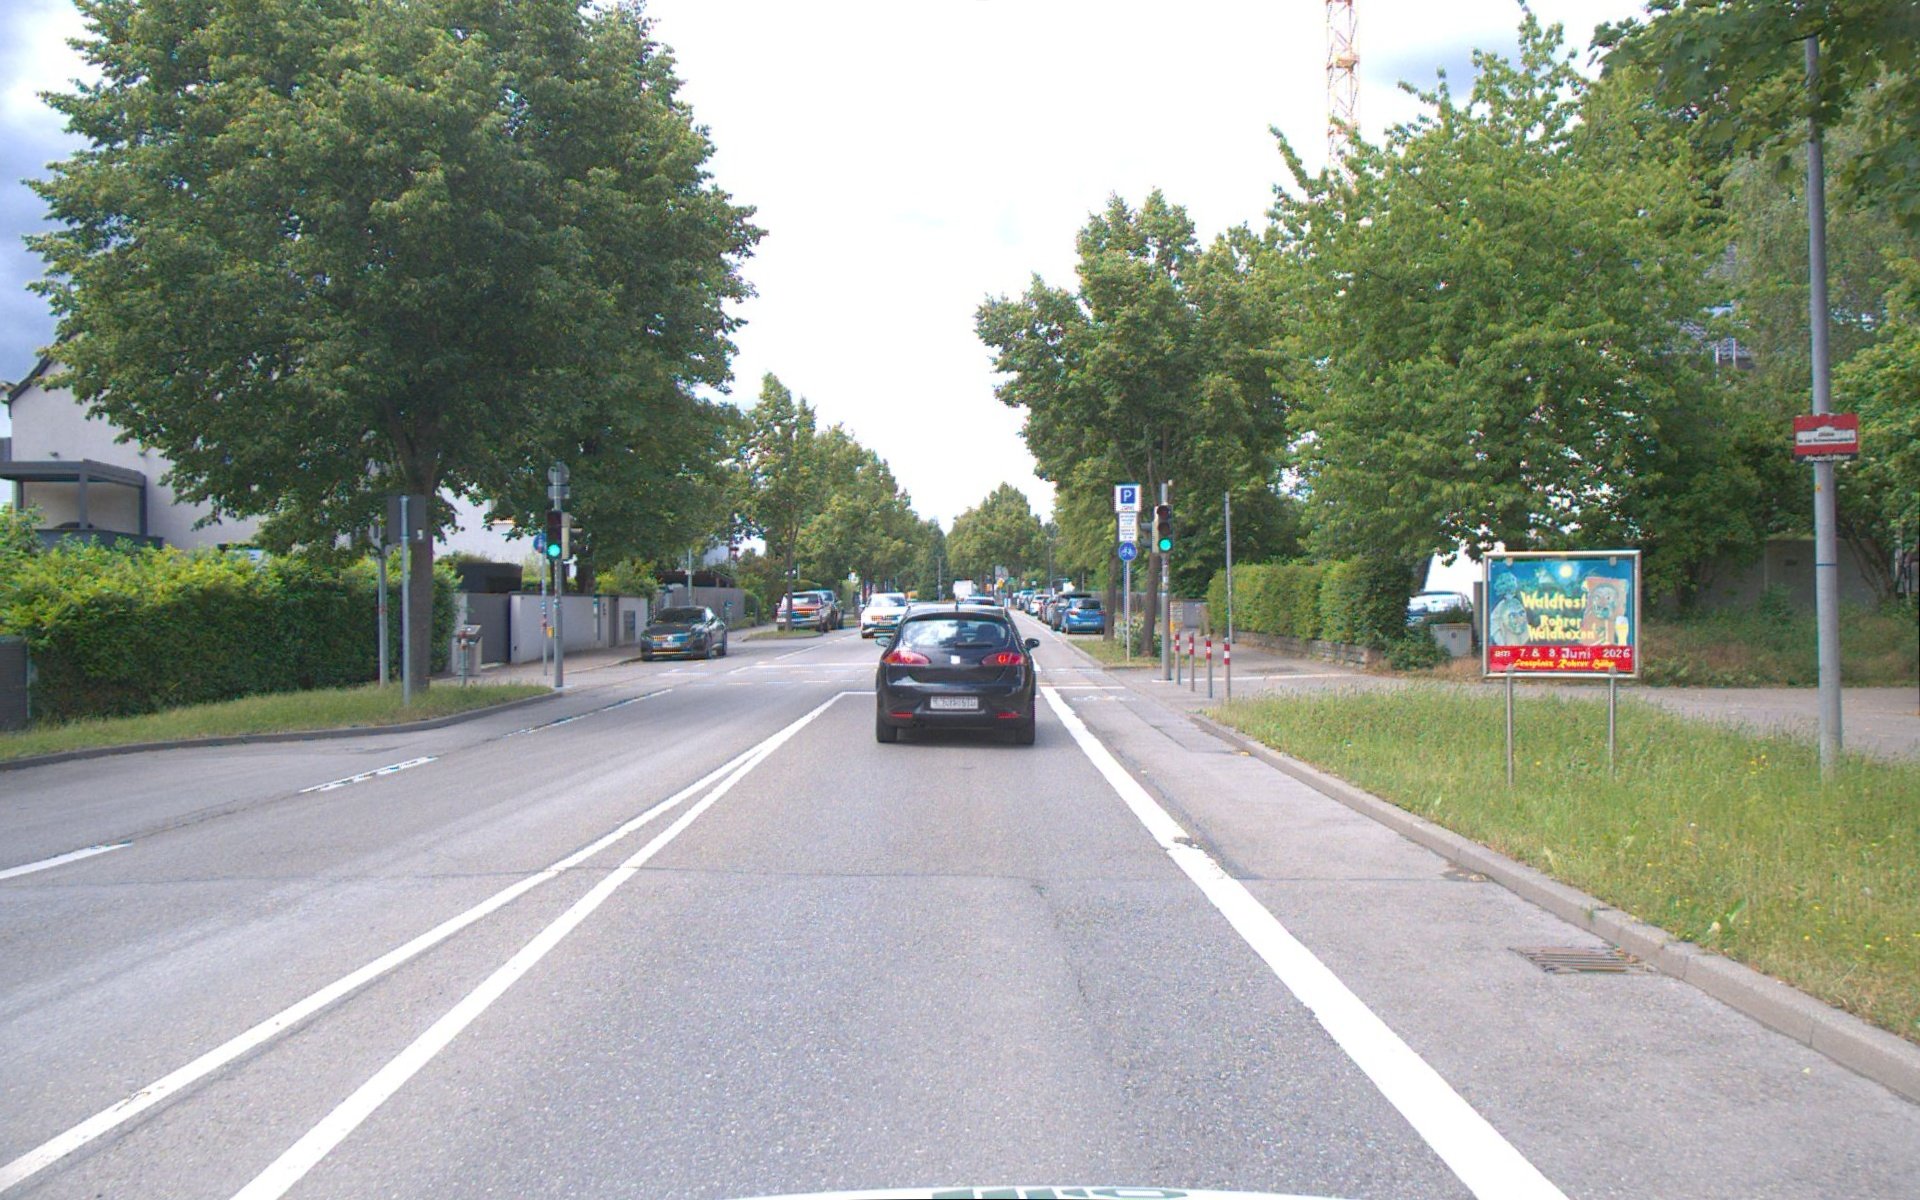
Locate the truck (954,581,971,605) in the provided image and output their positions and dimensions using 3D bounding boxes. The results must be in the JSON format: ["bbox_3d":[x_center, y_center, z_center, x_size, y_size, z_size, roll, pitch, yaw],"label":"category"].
[{"bbox_3d":[0.295,-0.876,227.266,2.232,3.158,8.509,1,0,0],"label":"truck"}]

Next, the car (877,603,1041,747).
[{"bbox_3d":[-0.040,0.767,18.606,1.629,1.426,3.811,1,0,-1],"label":"car"}]

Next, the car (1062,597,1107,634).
[{"bbox_3d":[5.181,0.625,69.196,1.653,1.516,3.355,0,0,0],"label":"car"}]

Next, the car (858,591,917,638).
[{"bbox_3d":[-2.733,0.513,62.948,1.836,1.663,4.342,-2,0,2],"label":"car"}]

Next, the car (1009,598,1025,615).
[{"bbox_3d":[6.349,0.707,184.977,1.653,1.908,4.213,0,0,0],"label":"car"}]

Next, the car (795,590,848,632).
[{"bbox_3d":[-6.853,0.529,82.210,2.057,1.929,5.784,-2,0,0],"label":"car"}]

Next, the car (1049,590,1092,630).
[{"bbox_3d":[4.959,0.433,74.372,1.653,1.741,4.213,0,0,0],"label":"car"}]

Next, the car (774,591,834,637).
[{"bbox_3d":[-6.985,0.594,74.598,2.057,1.929,5.784,-2,0,0],"label":"car"}]

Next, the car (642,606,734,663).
[{"bbox_3d":[-7.464,0.907,45.774,1.683,1.419,4.801,-2,0,0],"label":"car"}]

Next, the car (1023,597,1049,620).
[{"bbox_3d":[5.417,0.576,117.705,1.653,1.591,4.213,0,0,0],"label":"car"}]

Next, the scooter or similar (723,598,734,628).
[{"bbox_3d":[-9.982,0.558,71.334,0.379,1.251,1.498,0,0,-4],"label":"scooter or similar"}]

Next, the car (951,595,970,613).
[{"bbox_3d":[0.091,0.401,165.019,1.843,1.718,4.213,0,0,0],"label":"car"}]

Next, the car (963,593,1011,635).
[{"bbox_3d":[1.060,0.544,64.900,1.808,1.536,3.812,1,0,1],"label":"car"}]

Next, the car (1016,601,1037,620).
[{"bbox_3d":[5.673,0.896,142.065,1.653,1.591,4.213,0,0,0],"label":"car"}]
